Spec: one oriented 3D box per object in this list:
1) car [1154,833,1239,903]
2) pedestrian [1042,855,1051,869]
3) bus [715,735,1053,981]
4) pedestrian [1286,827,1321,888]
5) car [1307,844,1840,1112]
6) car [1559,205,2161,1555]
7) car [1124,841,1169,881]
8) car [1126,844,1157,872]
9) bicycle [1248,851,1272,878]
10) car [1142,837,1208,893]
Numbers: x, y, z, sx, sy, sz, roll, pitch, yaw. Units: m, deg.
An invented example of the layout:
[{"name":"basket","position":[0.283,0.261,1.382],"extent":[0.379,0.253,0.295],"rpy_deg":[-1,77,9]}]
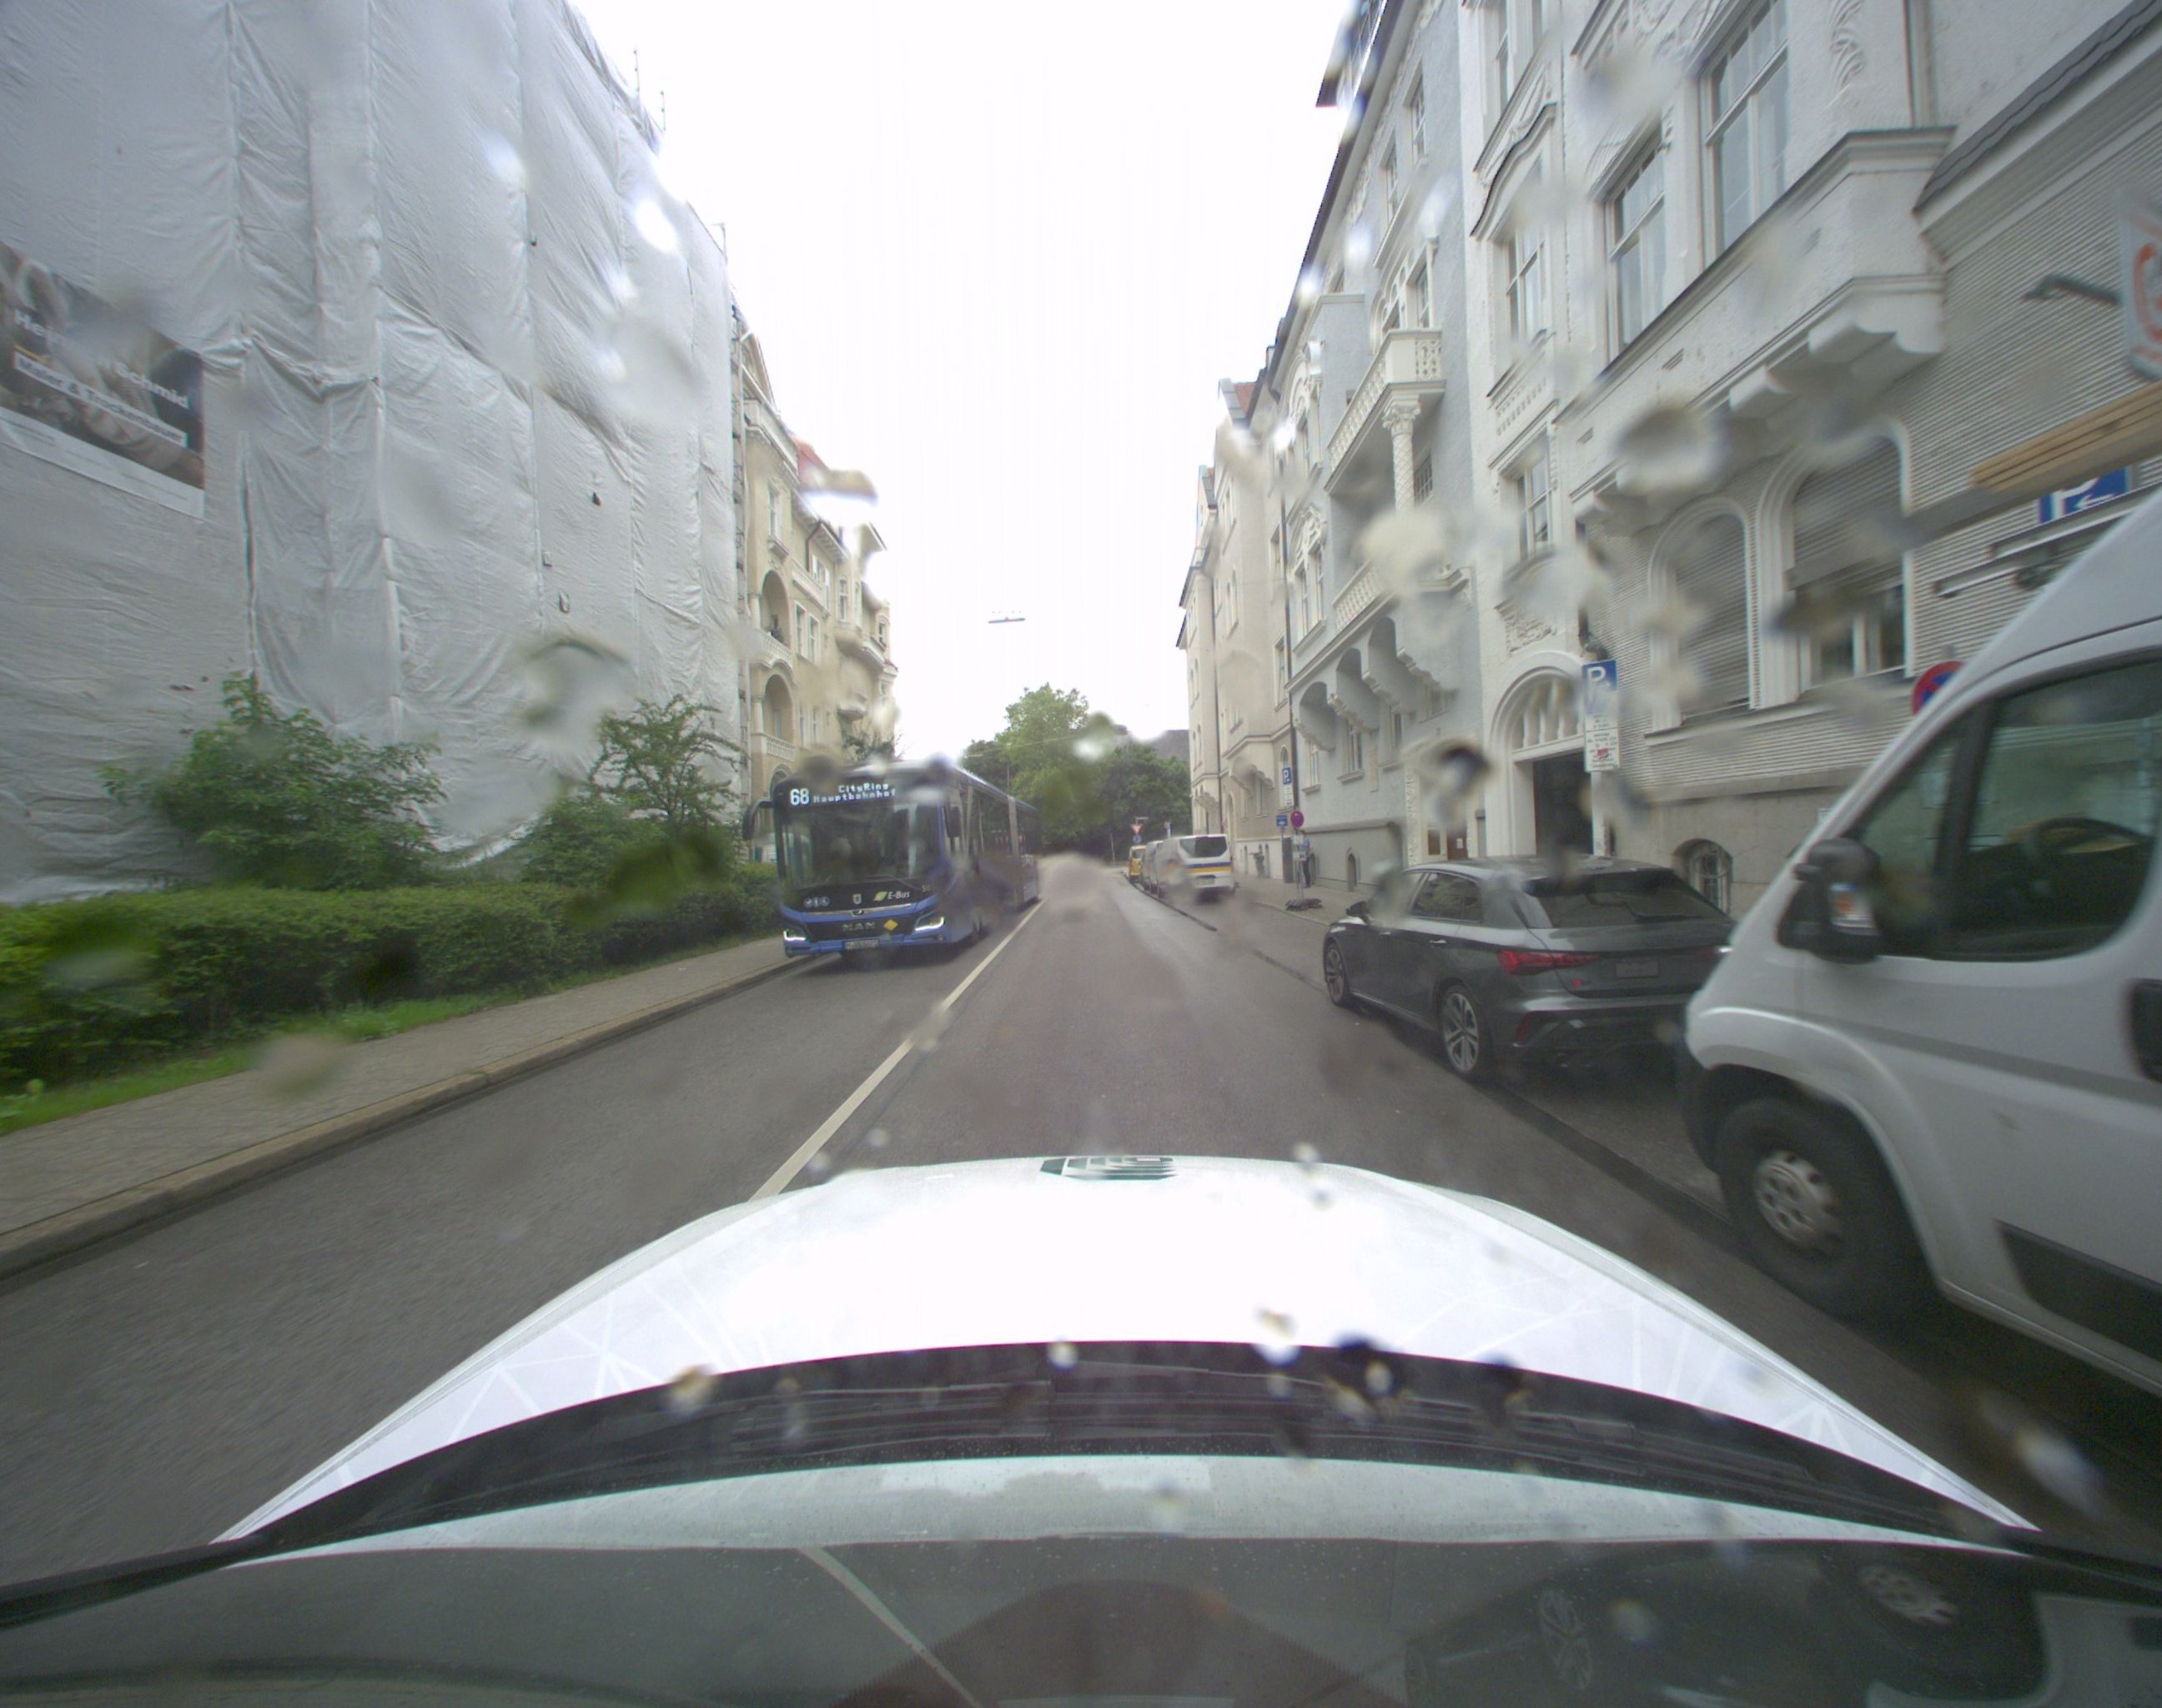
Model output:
[{"name":"car","position":[3.516,0.390,25.670],"extent":[1.987,1.918,4.878],"rpy_deg":[-3,0,1]},{"name":"pedestrian","position":[-3.572,0.833,84.121],"extent":[0.766,1.356,1.132],"rpy_deg":[-2,0,2]},{"name":"bus","position":[-3.064,0.045,20.389],"extent":[3.159,3.212,18.068],"rpy_deg":[-4,0,2]},{"name":"pedestrian","position":[7.099,0.113,26.008],"extent":[0.848,1.903,0.747],"rpy_deg":[-3,0,4]},{"name":"car","position":[3.325,0.685,6.647],"extent":[1.782,1.407,4.245],"rpy_deg":[-3,0,1]},{"name":"car","position":[3.152,0.039,0.871],"extent":[2.069,2.688,5.447],"rpy_deg":[-4,0,2]},{"name":"car","position":[3.396,0.339,42.763],"extent":[1.987,1.918,4.571],"rpy_deg":[-3,0,1]},{"name":"car","position":[4.559,0.287,62.390],"extent":[1.932,1.922,5.374],"rpy_deg":[-3,0,0]},{"name":"bicycle","position":[7.742,0.452,35.239],"extent":[0.664,1.133,1.723],"rpy_deg":[-3,0,2]},{"name":"car","position":[3.528,0.389,31.567],"extent":[1.987,1.918,4.886],"rpy_deg":[-3,0,1]}]
